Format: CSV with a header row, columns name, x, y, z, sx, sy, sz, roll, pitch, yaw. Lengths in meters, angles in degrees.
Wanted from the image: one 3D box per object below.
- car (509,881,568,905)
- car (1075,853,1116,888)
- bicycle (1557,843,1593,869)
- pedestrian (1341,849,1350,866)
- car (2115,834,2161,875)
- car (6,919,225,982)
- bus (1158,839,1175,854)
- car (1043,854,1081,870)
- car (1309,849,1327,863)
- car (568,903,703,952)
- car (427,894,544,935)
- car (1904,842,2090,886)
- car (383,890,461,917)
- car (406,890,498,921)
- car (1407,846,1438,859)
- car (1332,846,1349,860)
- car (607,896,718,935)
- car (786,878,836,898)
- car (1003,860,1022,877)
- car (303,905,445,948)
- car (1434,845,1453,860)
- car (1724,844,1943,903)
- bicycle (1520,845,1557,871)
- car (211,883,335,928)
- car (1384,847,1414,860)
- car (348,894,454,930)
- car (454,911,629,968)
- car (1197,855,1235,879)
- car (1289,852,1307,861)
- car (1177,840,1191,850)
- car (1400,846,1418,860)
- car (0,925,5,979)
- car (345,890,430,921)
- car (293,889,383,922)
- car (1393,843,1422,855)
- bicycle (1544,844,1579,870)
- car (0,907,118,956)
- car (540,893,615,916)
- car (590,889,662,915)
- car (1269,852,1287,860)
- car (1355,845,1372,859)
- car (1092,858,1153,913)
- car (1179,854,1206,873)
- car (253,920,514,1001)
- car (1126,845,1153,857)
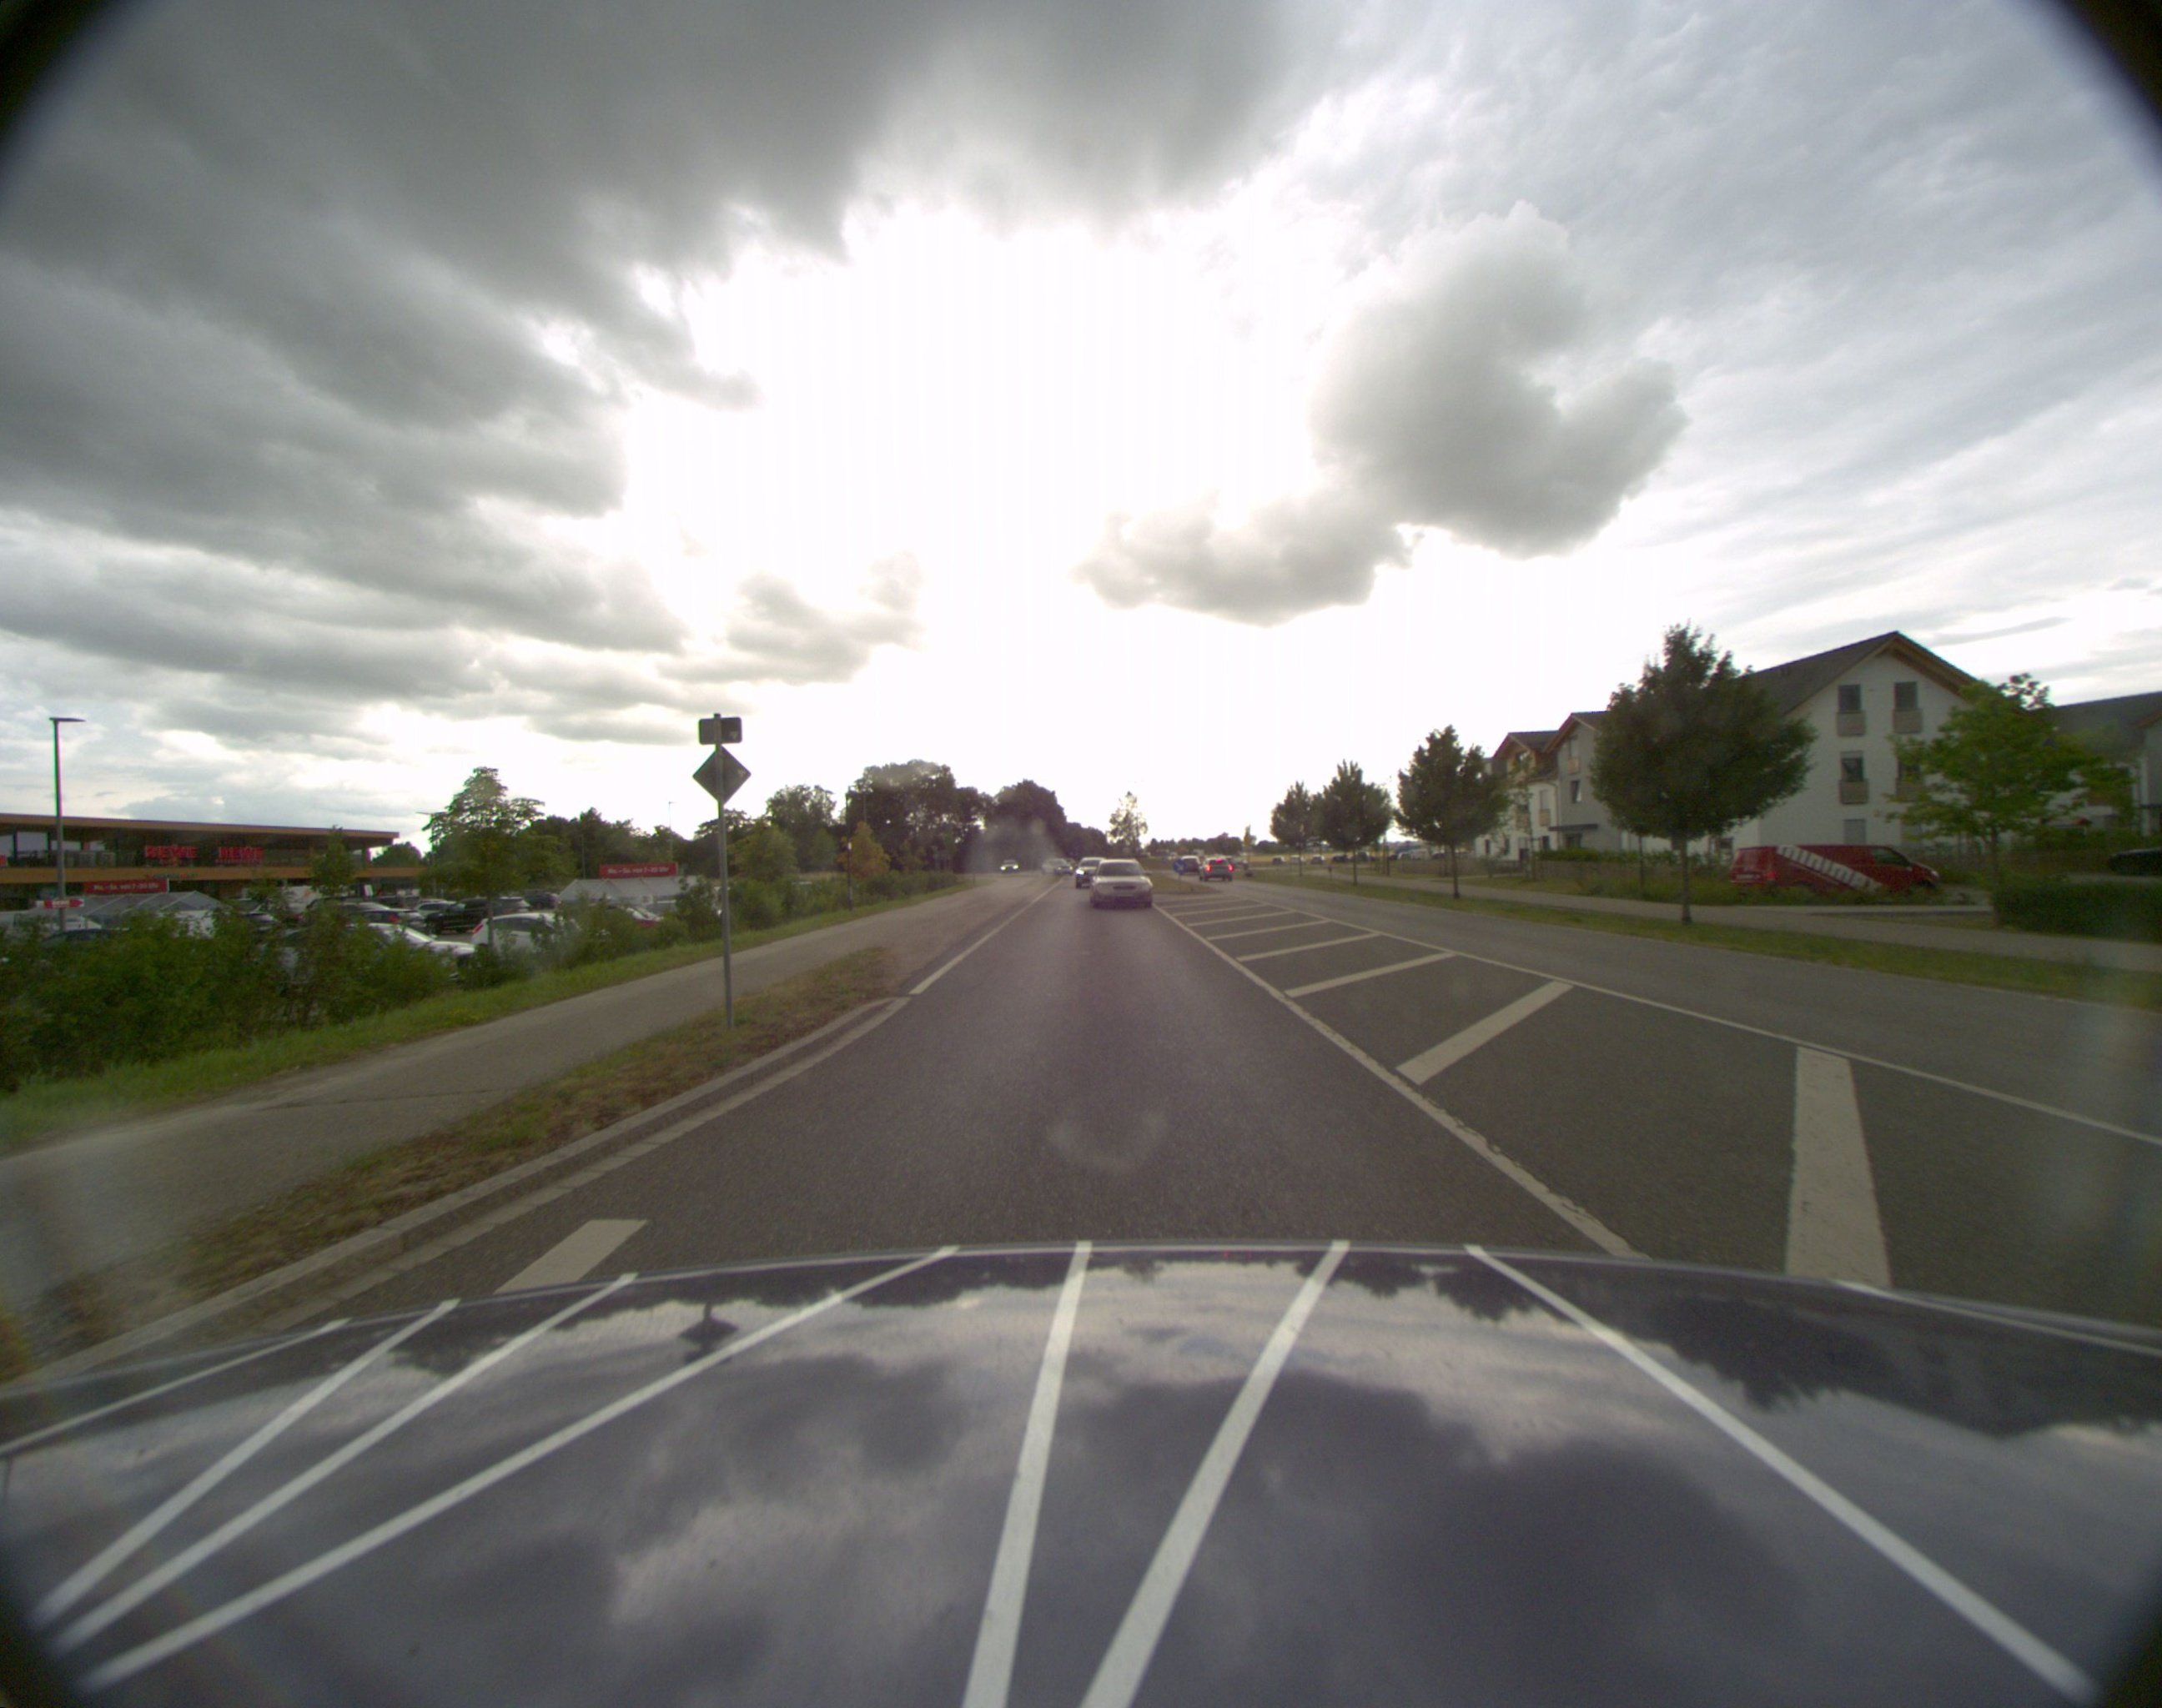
name,x,y,z,sx,sy,sz,roll,pitch,yaw
car,-47.920,3.459,67.172,3.994,2.002,2.001,-1,0,9
car,0.833,0.804,39.195,1.869,1.578,5.063,-2,0,3
bicycle,28.014,0.113,43.118,0.684,1.420,2.094,-1,0,1
pedestrian,24.496,0.297,70.259,0.547,1.521,0.586,-3,0,1
car,40.452,0.019,26.997,1.998,1.499,4.000,-1,0,1
car,-28.632,2.839,22.647,3.997,1.608,2.000,-1,0,1
bus,18.721,-1.598,165.987,2.991,3.261,6.485,-1,0,1
car,-1.839,0.780,72.740,2.003,1.510,3.762,-1,0,-30
car,35.478,0.263,113.630,1.995,2.002,4.007,-1,0,25
car,-15.636,2.554,26.801,3.766,1.529,1.676,-1,0,-1
car,-29.191,2.943,37.337,4.269,1.860,2.001,-1,0,5
car,33.235,0.351,27.765,1.998,1.499,4.000,-1,0,1
car,-48.239,3.578,55.650,3.995,1.837,2.072,-1,0,5
car,-39.862,3.242,48.197,4.269,1.860,2.001,-1,0,5
car,52.997,-0.280,118.017,4.000,2.002,1.999,-1,0,-8
car,38.215,-0.125,111.773,1.995,2.002,4.007,-1,0,25
car,-17.796,2.599,32.410,3.766,1.529,1.676,-1,0,-1
car,-24.715,3.072,69.676,1.697,1.707,4.251,-1,0,28
car,-7.814,1.623,86.135,2.000,1.827,3.998,-1,0,-6
car,-29.429,2.990,31.713,3.997,1.433,2.000,-2,0,0
car,51.183,-0.181,107.272,2.226,2.002,4.008,-1,0,29
car,24.125,0.631,24.542,4.915,1.805,1.907,-1,0,6
bicycle,26.059,0.222,43.327,0.684,1.404,2.344,-1,0,1
car,-38.455,2.413,36.229,3.995,2.002,2.001,-1,0,5
car,50.924,-0.026,121.830,4.001,2.002,1.998,-1,0,-12
car,-37.828,3.196,42.343,4.269,1.860,2.001,-1,0,5
car,-16.479,2.605,23.345,4.157,1.529,1.676,-1,0,-1
car,8.524,0.810,48.282,1.774,1.435,4.000,-1,0,1
car,32.801,0.424,114.617,1.995,1.280,4.007,-1,0,25
car,16.514,-1.415,121.610,1.774,1.435,4.000,-1,0,1
car,47.499,-0.133,110.083,1.995,2.002,4.008,-1,0,29
car,-34.952,3.001,22.386,3.995,1.608,2.001,-1,0,5
car,-47.299,3.483,51.868,3.995,2.002,2.072,-1,0,5
car,-47.991,3.301,49.120,3.995,2.002,2.001,-1,0,5
car,53.864,-0.823,125.431,4.001,2.002,1.998,-1,0,-12
bicycle,27.239,0.164,43.145,0.684,1.409,2.094,-1,0,1
car,-47.317,3.464,34.273,5.142,2.002,2.000,-1,0,0
car,-36.012,3.614,54.382,4.127,1.476,2.001,-1,0,5
car,-29.339,3.107,49.035,3.558,1.524,1.753,-1,0,-1
car,30.162,0.325,116.129,1.995,1.280,4.007,-1,0,25
car,40.981,-0.235,110.203,1.996,2.002,4.005,-1,0,16
car,1.298,0.895,23.434,1.700,1.457,4.001,-1,0,4
car,9.537,0.826,65.220,1.830,1.573,4.216,0,0,1
car,-16.203,2.449,17.853,4.157,1.588,2.080,-1,0,-1
car,8.527,-0.373,110.740,1.994,1.674,4.008,-1,0,38
